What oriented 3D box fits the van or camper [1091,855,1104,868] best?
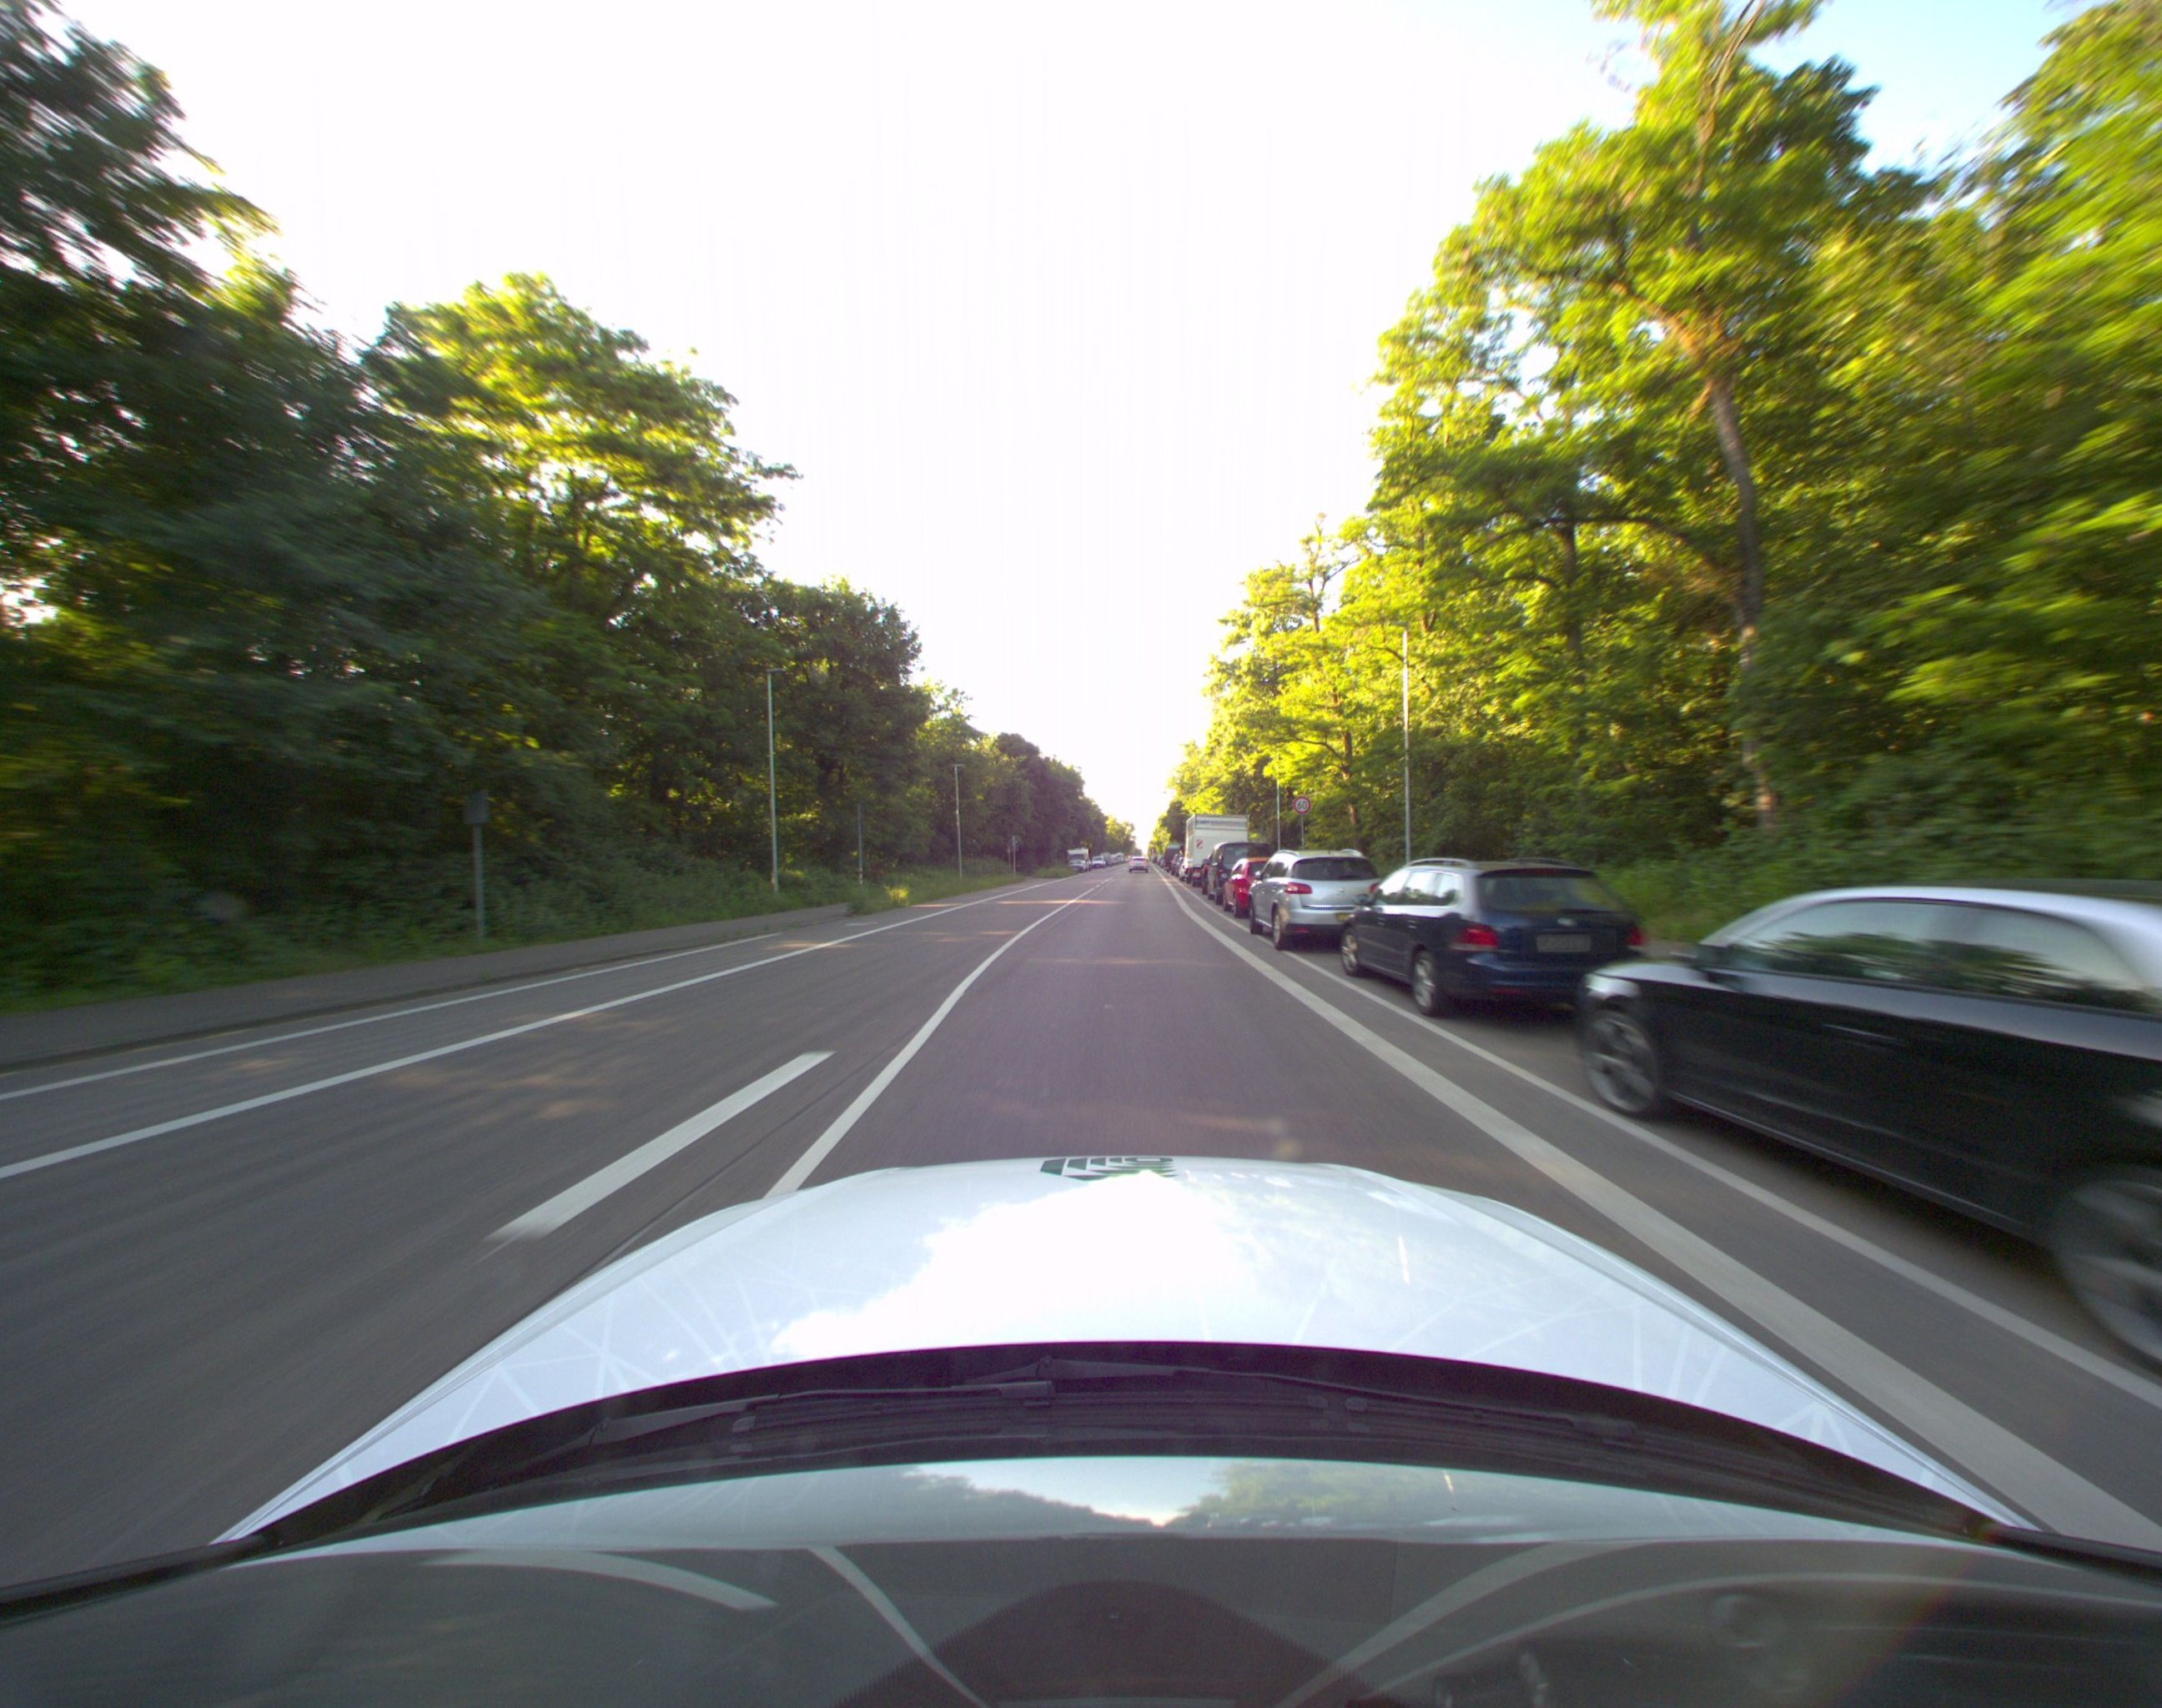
[{"bbox_3d":[2.678,1.196,129.726,1.827,1.911,4.861,-3,-1,4],"label":"van or camper"}]

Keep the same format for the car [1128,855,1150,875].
[{"bbox_3d":[5.586,1.042,77.771,2.019,1.840,4.034,-1,0,5],"label":"car"}]

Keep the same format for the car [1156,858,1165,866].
[{"bbox_3d":[15.220,1.506,156.243,1.682,1.524,4.155,0,0,5],"label":"car"}]

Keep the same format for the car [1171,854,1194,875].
[{"bbox_3d":[8.276,0.809,66.680,1.703,1.665,4.558,1,0,6],"label":"car"}]

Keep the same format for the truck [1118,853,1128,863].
[{"bbox_3d":[12.771,1.174,245.422,2.695,3.093,7.999,-1,-1,5],"label":"truck"}]

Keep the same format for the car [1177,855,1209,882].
[{"bbox_3d":[6.937,0.867,50.604,1.704,1.568,4.005,1,0,4],"label":"car"}]

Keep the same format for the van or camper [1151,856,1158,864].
[{"bbox_3d":[19.457,1.609,215.815,1.984,1.932,5.205,0,0,5],"label":"van or camper"}]

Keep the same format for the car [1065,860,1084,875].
[{"bbox_3d":[-0.654,1.435,88.523,1.820,1.476,4.682,-3,0,2],"label":"car"}]

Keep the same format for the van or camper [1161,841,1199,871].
[{"bbox_3d":[9.732,0.177,79.442,2.421,2.800,6.587,-2,0,18],"label":"van or camper"}]

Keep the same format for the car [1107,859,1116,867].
[{"bbox_3d":[6.746,1.993,178.935,1.723,1.478,4.330,-3,-1,5],"label":"car"}]

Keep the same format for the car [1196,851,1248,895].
[{"bbox_3d":[5.763,0.739,33.673,1.790,1.657,4.034,-1,0,5],"label":"car"}]

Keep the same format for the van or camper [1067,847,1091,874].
[{"bbox_3d":[-0.226,0.747,95.870,2.305,2.970,7.115,-4,-1,2],"label":"van or camper"}]

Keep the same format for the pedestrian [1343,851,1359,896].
[{"bbox_3d":[9.683,0.683,29.224,0.392,1.588,0.482,-2,-1,4],"label":"pedestrian"}]

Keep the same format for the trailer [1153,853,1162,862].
[{"bbox_3d":[24.435,1.167,260.380,2.744,2.870,6.596,-1,-1,5],"label":"trailer"}]

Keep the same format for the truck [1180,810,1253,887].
[{"bbox_3d":[6.832,-0.237,42.292,2.820,3.497,8.586,-1,0,4],"label":"truck"}]

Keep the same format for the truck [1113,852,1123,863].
[{"bbox_3d":[11.594,1.142,257.149,2.695,3.347,10.937,-1,-1,5],"label":"truck"}]

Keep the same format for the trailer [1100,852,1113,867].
[{"bbox_3d":[4.852,1.011,152.917,1.984,2.597,4.421,-4,-1,5],"label":"trailer"}]

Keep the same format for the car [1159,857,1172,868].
[{"bbox_3d":[12.776,1.281,123.109,1.740,1.515,4.003,-4,-1,3],"label":"car"}]

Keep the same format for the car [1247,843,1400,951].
[{"bbox_3d":[4.098,0.660,14.409,1.790,1.595,4.034,-1,0,5],"label":"car"}]

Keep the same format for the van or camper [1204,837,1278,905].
[{"bbox_3d":[5.192,0.534,26.930,1.888,2.013,4.593,-1,0,5],"label":"van or camper"}]

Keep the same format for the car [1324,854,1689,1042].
[{"bbox_3d":[4.178,0.775,8.963,1.800,1.519,4.506,1,0,2],"label":"car"}]

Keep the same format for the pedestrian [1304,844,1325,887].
[{"bbox_3d":[9.646,0.466,33.622,0.615,1.764,0.907,-2,-1,4],"label":"pedestrian"}]

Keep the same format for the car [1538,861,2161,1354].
[{"bbox_3d":[3.917,0.745,3.692,1.589,1.401,3.798,0,0,0],"label":"car"}]

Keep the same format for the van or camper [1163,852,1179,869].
[{"bbox_3d":[12.783,0.872,116.108,2.026,2.312,6.047,-2,0,4],"label":"van or camper"}]

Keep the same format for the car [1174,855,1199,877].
[{"bbox_3d":[7.867,0.899,61.069,1.703,1.568,4.558,1,0,6],"label":"car"}]
